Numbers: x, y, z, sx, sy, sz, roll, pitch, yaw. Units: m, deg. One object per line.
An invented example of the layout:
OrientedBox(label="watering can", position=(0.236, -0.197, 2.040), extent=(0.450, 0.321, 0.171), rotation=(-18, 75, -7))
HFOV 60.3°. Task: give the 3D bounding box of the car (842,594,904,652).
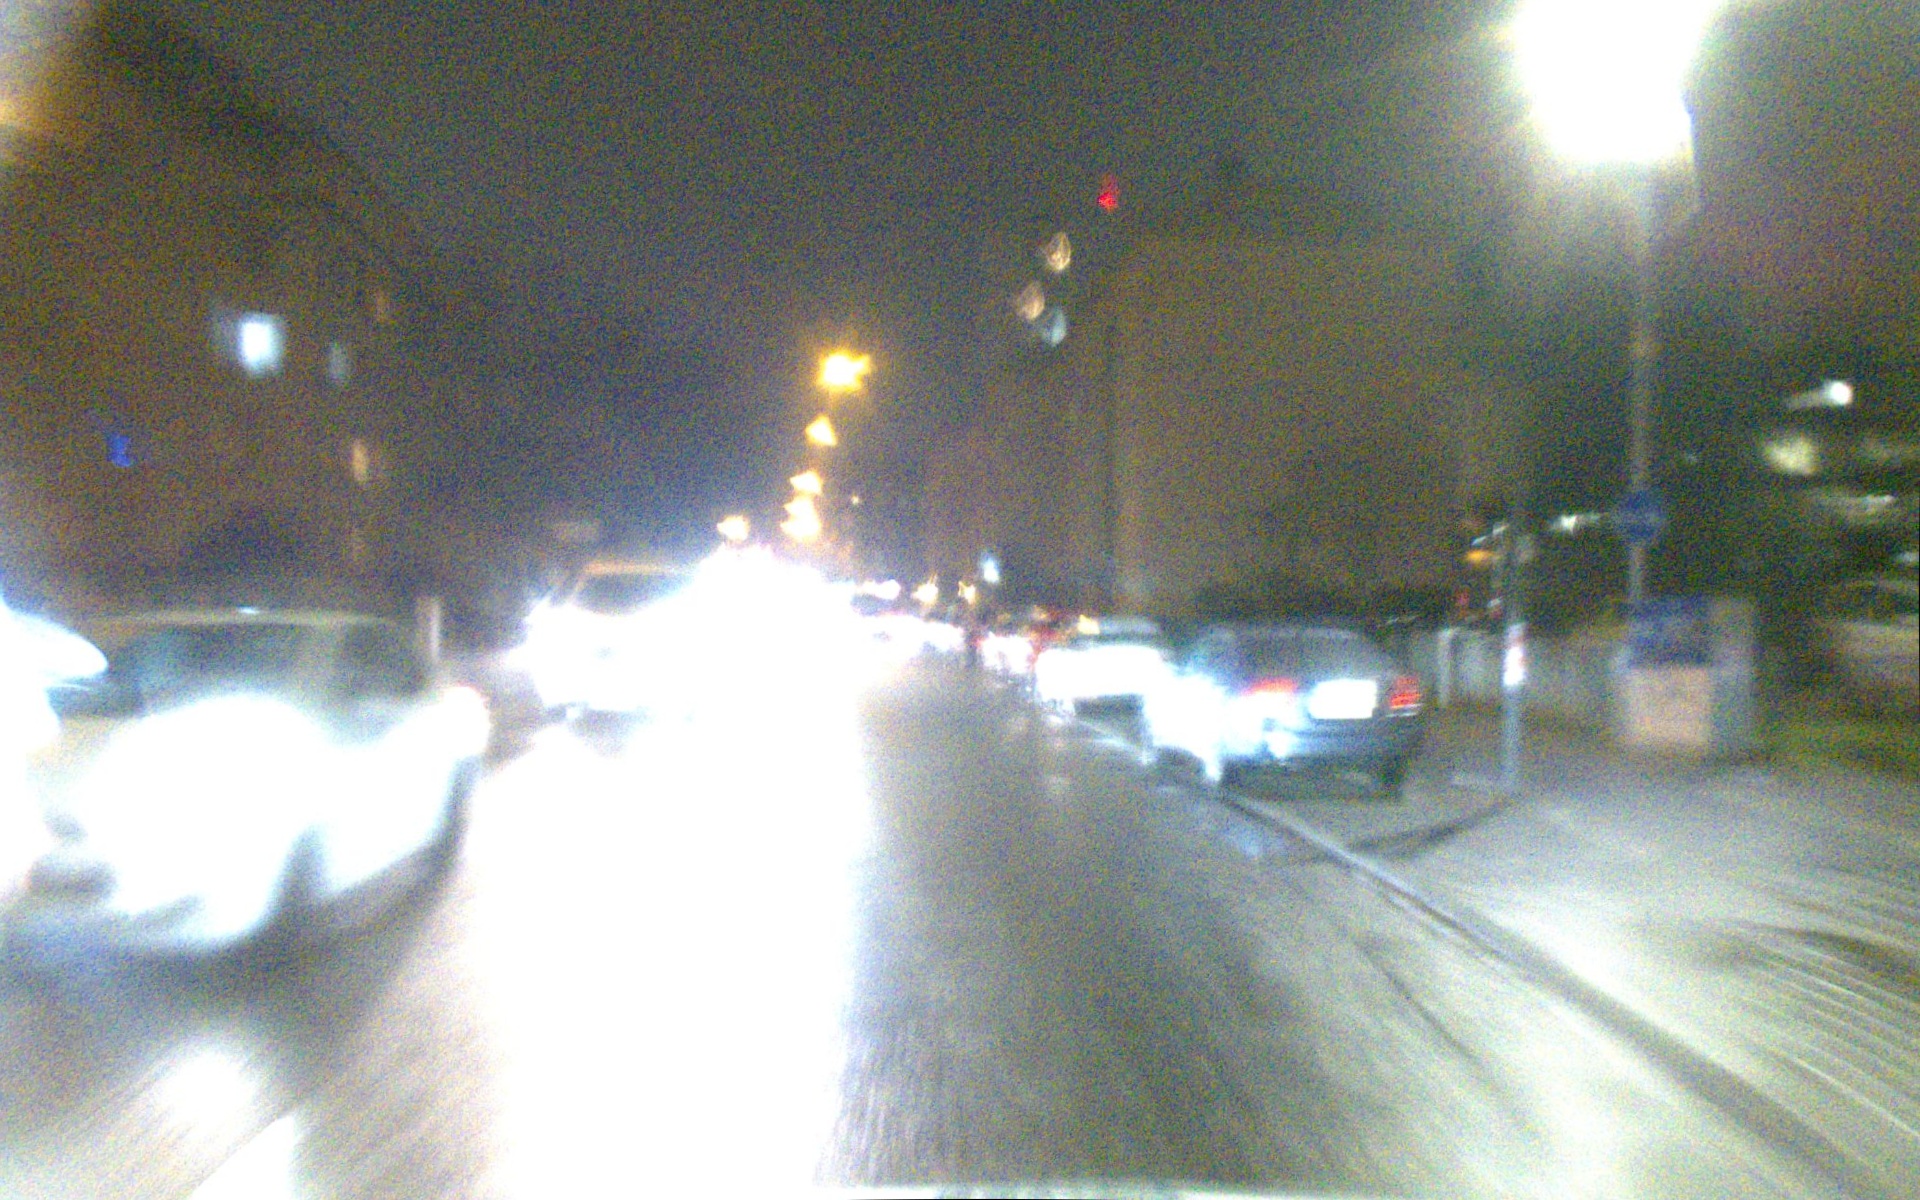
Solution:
OrientedBox(label="car", position=(-2.919, 0.734, 54.983), extent=(1.954, 1.713, 3.997), rotation=(1, 2, -4))

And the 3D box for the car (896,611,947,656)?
OrientedBox(label="car", position=(-1.449, 1.204, 61.008), extent=(1.597, 1.492, 4.505), rotation=(-1, 0, -5))

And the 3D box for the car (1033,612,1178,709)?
OrientedBox(label="car", position=(2.382, 0.963, 28.136), extent=(1.680, 1.515, 4.431), rotation=(0, -1, -6))

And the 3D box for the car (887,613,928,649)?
OrientedBox(label="car", position=(-2.283, 1.317, 71.031), extent=(1.467, 1.412, 3.742), rotation=(-1, 0, -6))

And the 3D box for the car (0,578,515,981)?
OrientedBox(label="car", position=(-3.497, 0.661, 7.990), extent=(1.710, 1.458, 3.998), rotation=(0, 0, -2))

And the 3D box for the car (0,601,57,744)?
OrientedBox(label="car", position=(-13.448, 0.766, 19.905), extent=(4.593, 1.647, 2.000), rotation=(3, 0, 21))

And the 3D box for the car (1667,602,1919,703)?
OrientedBox(label="car", position=(14.227, 0.832, 28.496), extent=(1.793, 1.575, 4.863), rotation=(0, 0, -3))

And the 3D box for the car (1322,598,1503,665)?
OrientedBox(label="car", position=(10.946, 0.754, 40.124), extent=(3.910, 1.547, 1.683), rotation=(0, 0, -6))

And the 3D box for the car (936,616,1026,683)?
OrientedBox(label="car", position=(0.526, 1.299, 45.168), extent=(1.845, 1.600, 4.521), rotation=(-1, 1, -7))

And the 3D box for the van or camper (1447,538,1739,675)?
OrientedBox(label="van or camper", position=(12.434, 0.122, 32.713), extent=(4.960, 2.571, 2.170), rotation=(0, 0, -2))

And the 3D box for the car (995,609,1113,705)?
OrientedBox(label="car", position=(1.854, 1.107, 33.921), extent=(1.680, 1.737, 4.181), rotation=(-1, 1, -7))

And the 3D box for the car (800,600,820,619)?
OrientedBox(label="car", position=(-14.166, 0.874, 156.115), extent=(1.777, 1.740, 3.798), rotation=(-1, 0, -6))

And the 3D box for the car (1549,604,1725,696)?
OrientedBox(label="car", position=(11.703, 0.824, 28.797), extent=(1.531, 1.495, 3.405), rotation=(0, 0, -3))

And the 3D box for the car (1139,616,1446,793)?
OrientedBox(label="car", position=(3.211, 0.944, 17.037), extent=(1.755, 1.474, 4.785), rotation=(-1, 0, -6))

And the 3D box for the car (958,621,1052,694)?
OrientedBox(label="car", position=(1.040, 1.346, 39.921), extent=(1.720, 1.555, 4.148), rotation=(-1, 0, -6))

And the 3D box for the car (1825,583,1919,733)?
OrientedBox(label="car", position=(11.996, 0.668, 18.825), extent=(1.866, 1.725, 4.255), rotation=(0, -1, -4))

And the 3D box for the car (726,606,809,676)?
OrientedBox(label="car", position=(-4.568, 0.944, 39.749), extent=(1.761, 1.486, 4.573), rotation=(3, 0, -5))

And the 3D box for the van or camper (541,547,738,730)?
OrientedBox(label="van or camper", position=(-4.118, 0.467, 22.002), extent=(1.833, 2.140, 4.939), rotation=(1, 0, -3))
